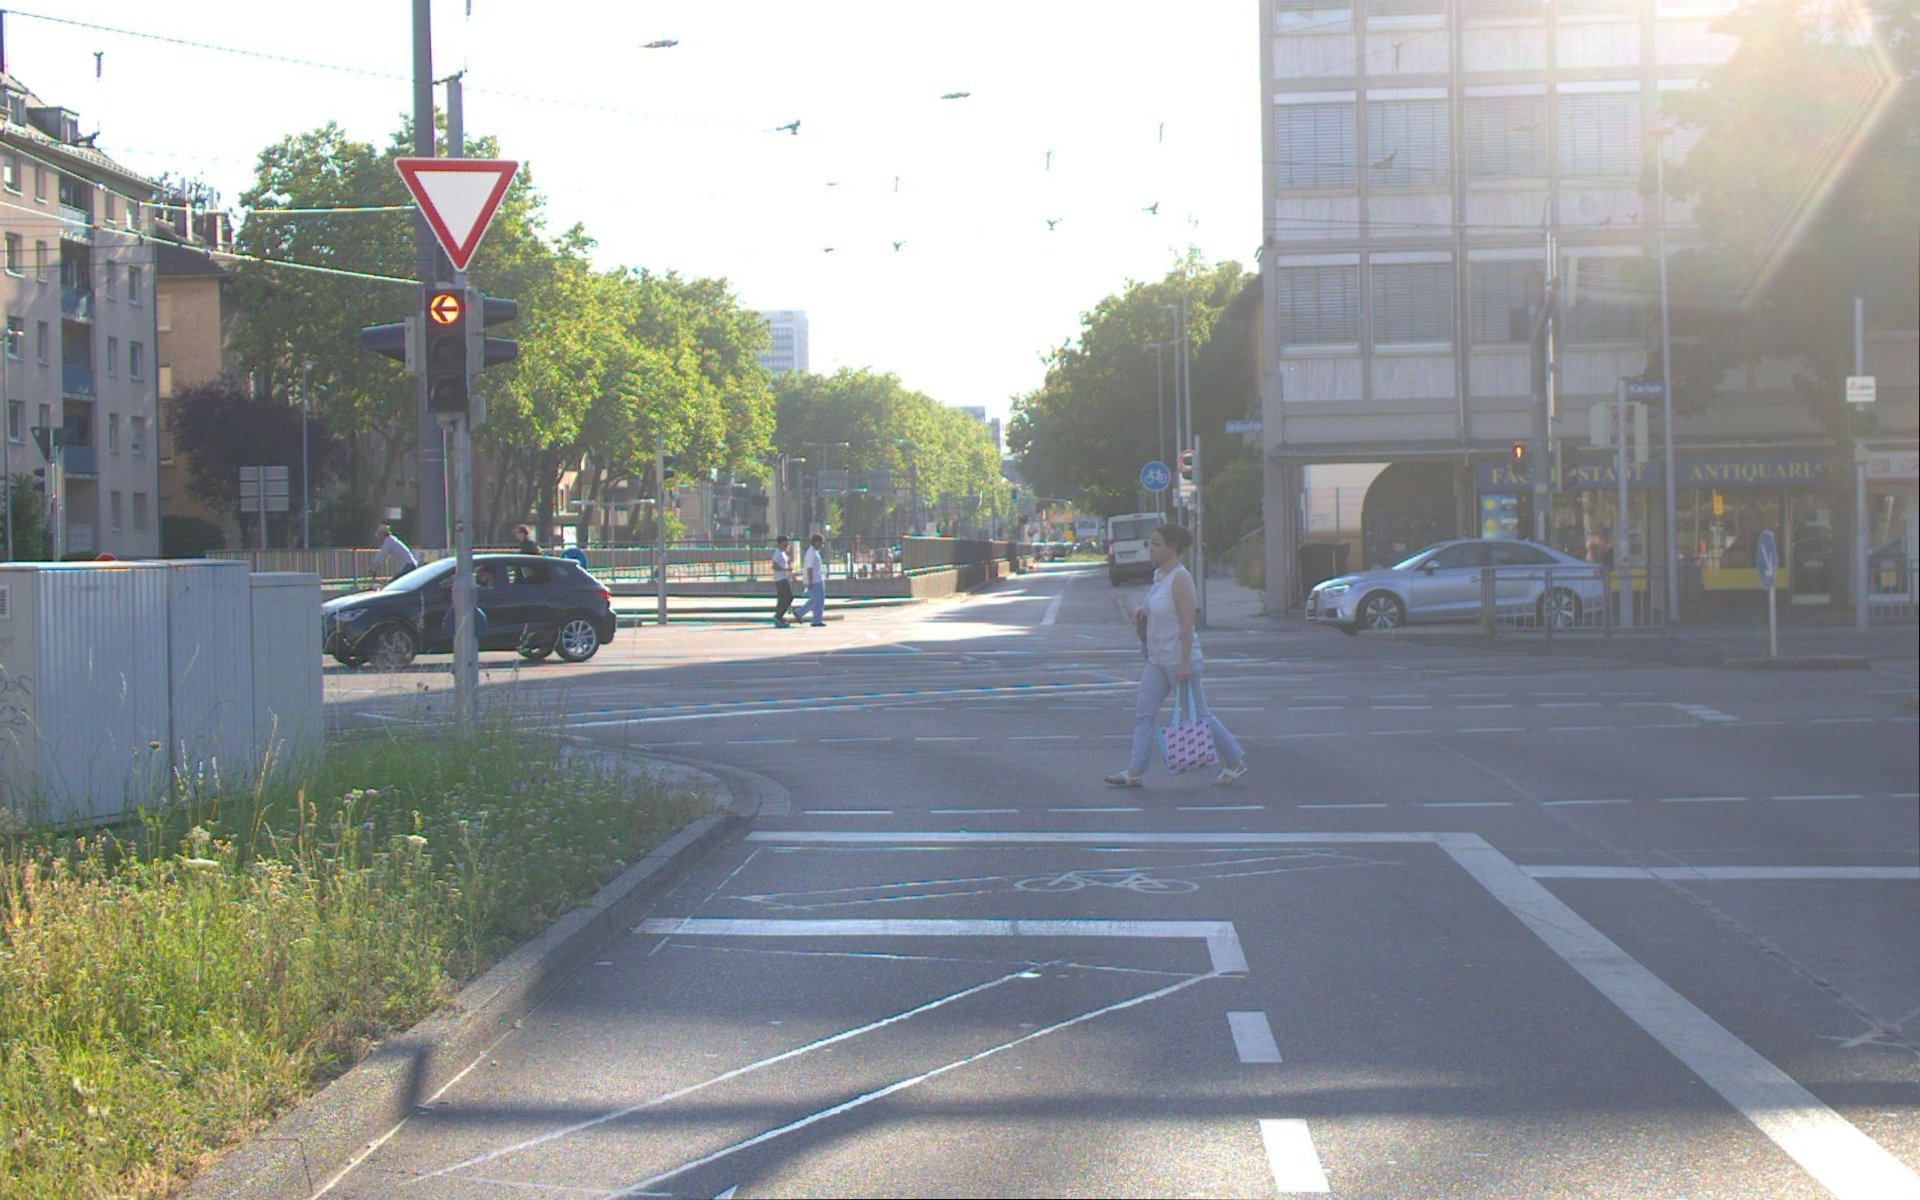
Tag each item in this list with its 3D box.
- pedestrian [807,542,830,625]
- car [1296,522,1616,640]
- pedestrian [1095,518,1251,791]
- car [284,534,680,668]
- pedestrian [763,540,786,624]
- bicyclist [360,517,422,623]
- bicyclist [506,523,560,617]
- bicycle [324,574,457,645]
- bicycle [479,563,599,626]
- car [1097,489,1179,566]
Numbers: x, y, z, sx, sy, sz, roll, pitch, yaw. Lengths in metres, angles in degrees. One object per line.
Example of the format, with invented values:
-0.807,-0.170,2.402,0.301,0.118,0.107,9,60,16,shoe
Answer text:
-2.599,-0.307,63.162,0.366,1.502,0.543,-1,1,-5,pedestrian
7.248,-0.289,50.540,4.331,1.590,2.000,-1,1,-2,car
1.272,0.317,20.638,0.878,1.592,0.655,-1,1,2,pedestrian
-6.324,-0.012,45.541,4.763,1.590,2.000,-2,1,-26,car
-3.368,-0.333,62.272,0.366,1.502,0.543,-1,1,-5,pedestrian
-9.524,-0.510,57.548,0.898,1.747,0.655,-1,1,-2,bicyclist
-8.090,-0.569,65.148,0.898,1.747,0.650,-1,1,-2,bicyclist
-9.531,0.156,57.556,2.093,1.133,0.658,-1,1,-2,bicycle
-7.976,-0.104,65.160,2.173,1.133,0.659,-1,1,-2,bicycle
5.931,-2.403,115.037,2.486,2.384,5.934,-3,1,2,car
